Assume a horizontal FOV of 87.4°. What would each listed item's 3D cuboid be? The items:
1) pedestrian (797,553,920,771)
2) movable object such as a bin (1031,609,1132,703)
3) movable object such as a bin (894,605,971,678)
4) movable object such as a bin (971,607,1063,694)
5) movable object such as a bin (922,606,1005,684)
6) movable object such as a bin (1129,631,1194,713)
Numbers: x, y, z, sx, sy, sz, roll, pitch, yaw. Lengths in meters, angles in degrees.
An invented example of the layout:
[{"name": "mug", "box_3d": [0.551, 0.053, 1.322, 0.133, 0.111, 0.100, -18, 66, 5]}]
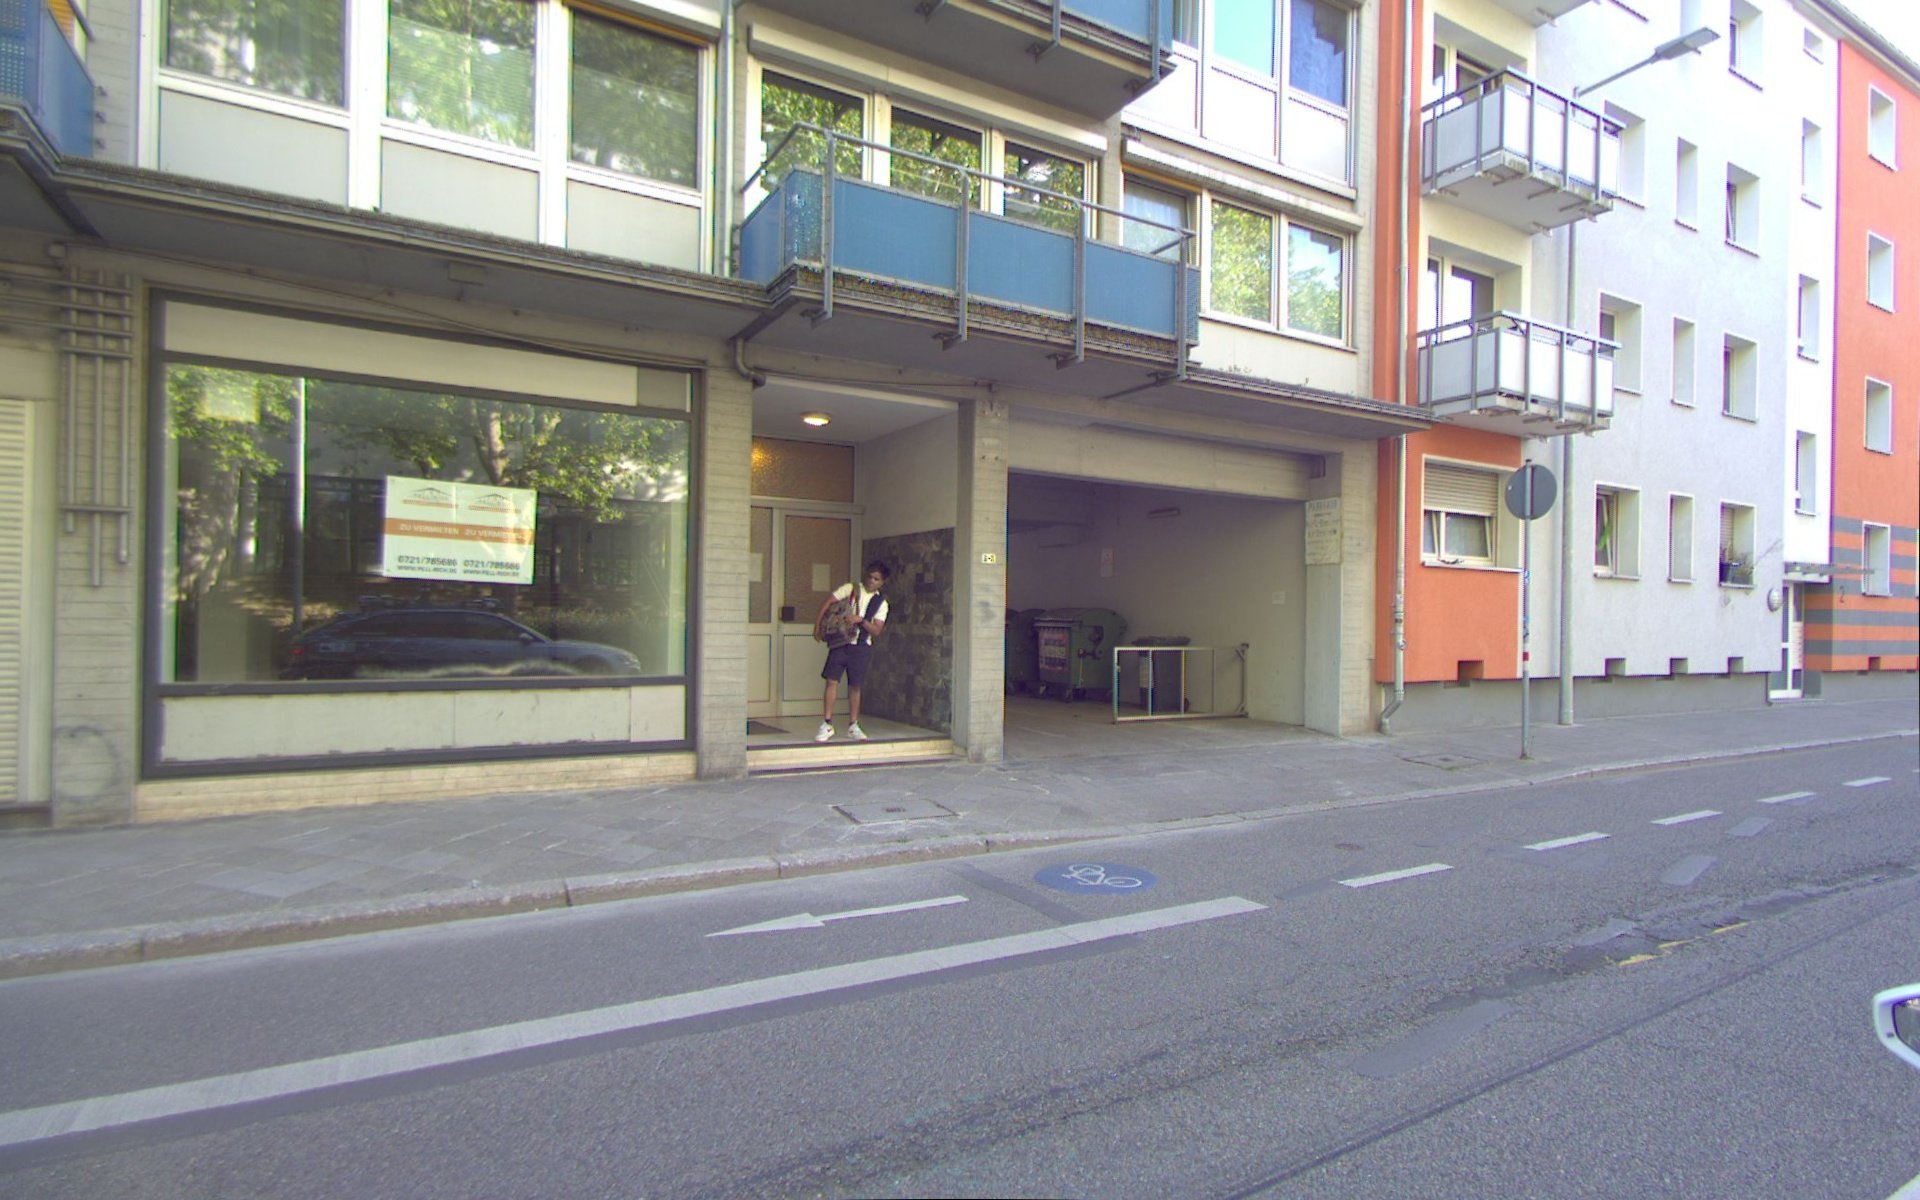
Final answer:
[{"name": "pedestrian", "box_3d": [-0.939, 0.550, 9.260, 0.882, 1.902, 0.703, 2, 0, -28]}, {"name": "movable object such as a bin", "box_3d": [1.899, 0.862, 15.818, 1.066, 1.384, 1.192, 2, 0, -27]}, {"name": "movable object such as a bin", "box_3d": [-0.562, 0.805, 19.871, 1.066, 1.384, 1.255, 2, 0, -27]}, {"name": "movable object such as a bin", "box_3d": [0.957, 0.839, 17.132, 1.066, 1.384, 1.255, 2, 0, -27]}, {"name": "movable object such as a bin", "box_3d": [0.046, 0.818, 18.701, 1.066, 1.384, 1.255, 2, 0, -27]}, {"name": "movable object such as a bin", "box_3d": [2.899, 1.022, 14.467, 0.650, 1.115, 0.626, 2, 0, -27]}]
